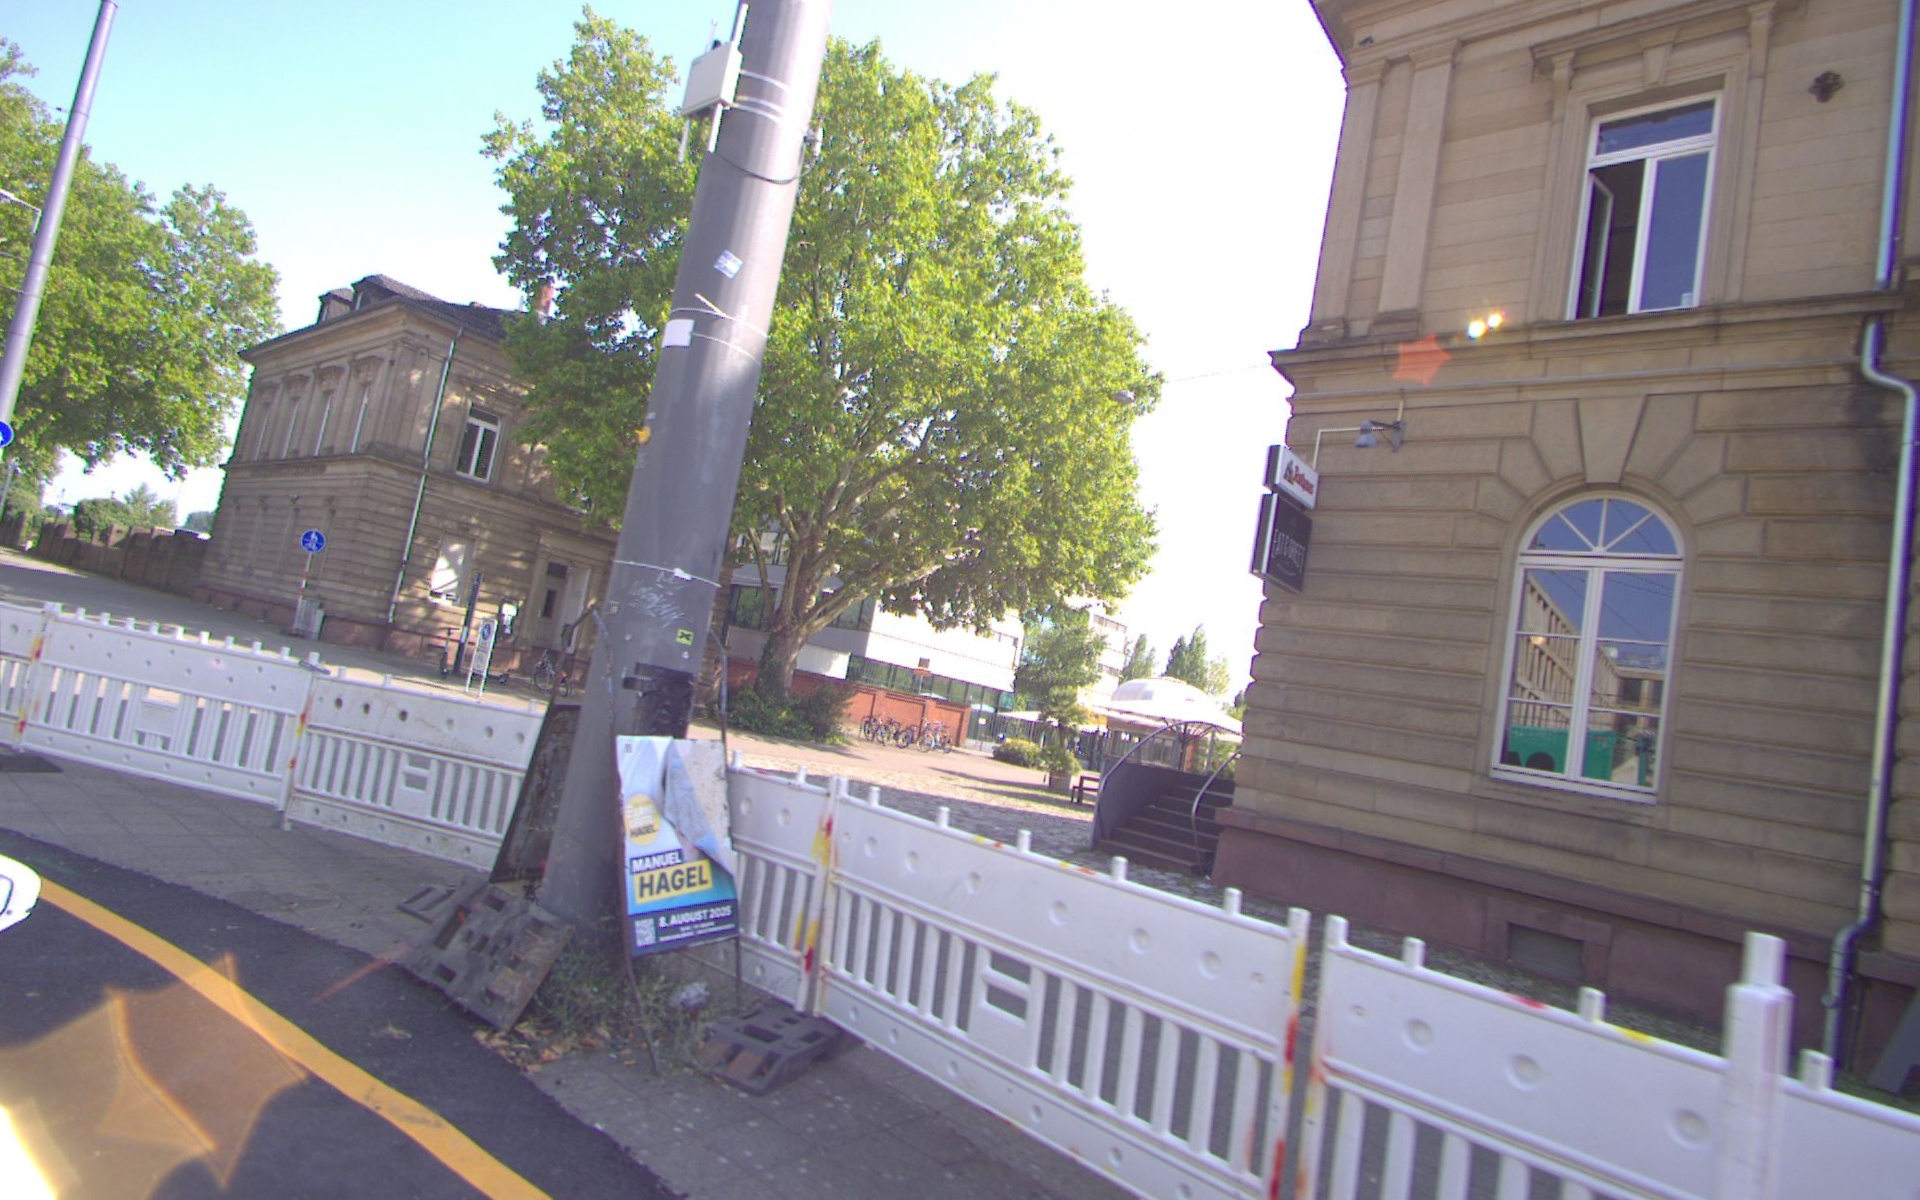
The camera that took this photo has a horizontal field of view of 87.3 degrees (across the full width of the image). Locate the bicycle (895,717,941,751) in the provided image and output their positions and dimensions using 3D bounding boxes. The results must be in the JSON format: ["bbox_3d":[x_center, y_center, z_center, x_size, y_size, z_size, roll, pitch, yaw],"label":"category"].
[{"bbox_3d":[-1.573,4.911,37.033,0.567,0.868,1.774,14,-4,-41],"label":"bicycle"}]

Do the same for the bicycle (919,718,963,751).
[{"bbox_3d":[-0.762,5.280,39.482,0.567,0.908,1.774,14,-4,-41],"label":"bicycle"}]

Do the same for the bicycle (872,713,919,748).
[{"bbox_3d":[-2.330,4.679,36.185,0.567,0.868,1.774,14,-4,-41],"label":"bicycle"}]

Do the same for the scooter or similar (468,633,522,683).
[{"bbox_3d":[-12.248,1.541,26.523,0.308,1.143,1.094,7,-6,37],"label":"scooter or similar"}]

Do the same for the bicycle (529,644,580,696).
[{"bbox_3d":[-10.986,1.878,27.207,1.609,1.177,0.498,5,-6,45],"label":"bicycle"}]

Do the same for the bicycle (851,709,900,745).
[{"bbox_3d":[-2.996,4.479,35.507,0.645,0.868,1.774,14,-5,-41],"label":"bicycle"}]

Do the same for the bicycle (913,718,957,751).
[{"bbox_3d":[-0.969,5.176,38.783,0.567,0.908,1.774,14,-4,-41],"label":"bicycle"}]

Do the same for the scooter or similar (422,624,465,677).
[{"bbox_3d":[-12.971,1.263,25.240,1.210,1.177,0.408,5,-6,45],"label":"scooter or similar"}]
